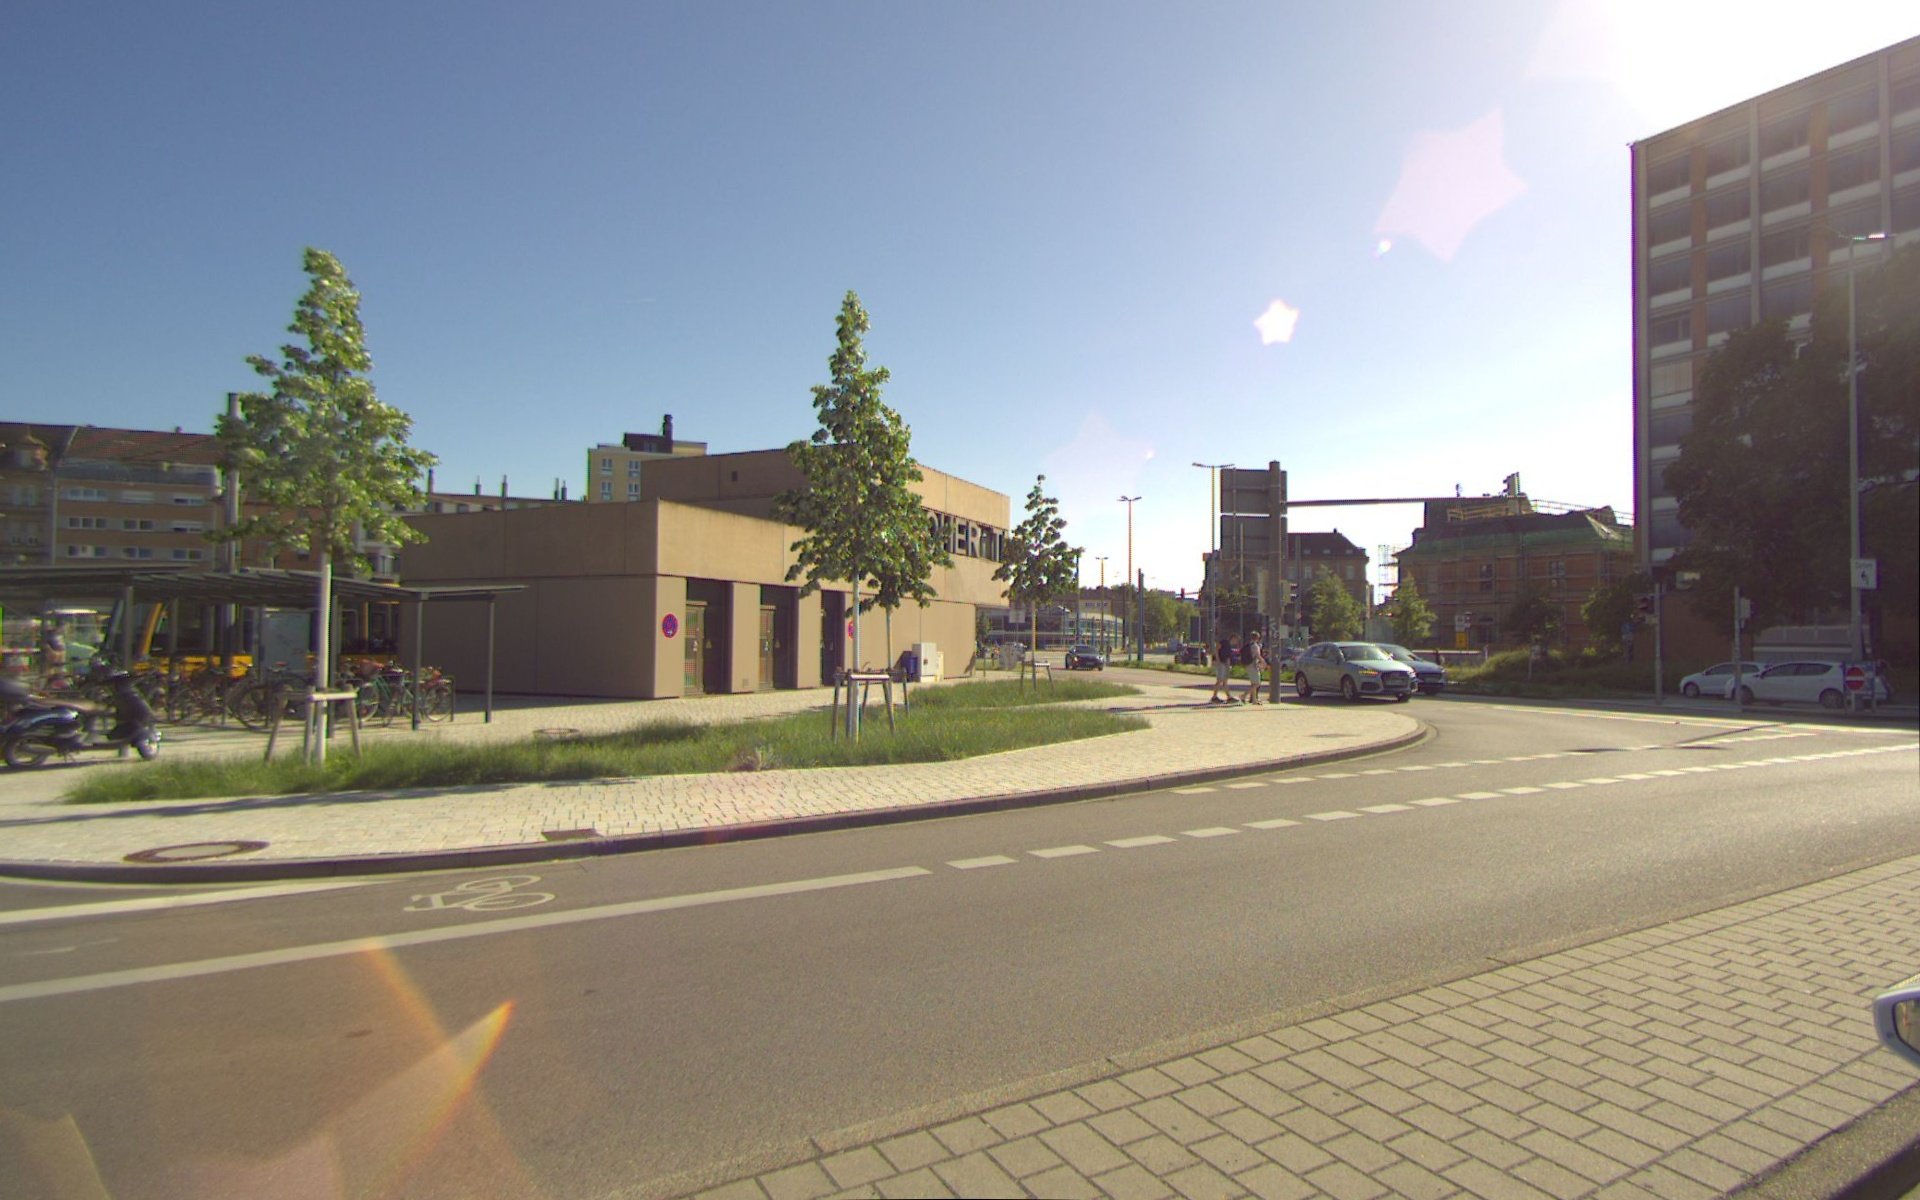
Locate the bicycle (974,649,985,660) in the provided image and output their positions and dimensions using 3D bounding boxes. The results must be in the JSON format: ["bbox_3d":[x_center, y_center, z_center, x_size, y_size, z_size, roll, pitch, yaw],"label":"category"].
[{"bbox_3d":[1.701,4.881,89.643,0.674,0.930,1.989,1,-4,-8],"label":"bicycle"}]

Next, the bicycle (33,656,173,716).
[{"bbox_3d":[-16.875,1.679,19.852,0.524,1.051,2.070,-2,-2,26],"label":"bicycle"}]

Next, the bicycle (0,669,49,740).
[{"bbox_3d":[-14.192,1.527,14.378,0.399,0.985,1.683,2,0,22],"label":"bicycle"}]

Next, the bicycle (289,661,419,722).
[{"bbox_3d":[-11.754,1.751,19.575,0.679,1.011,2.140,2,0,26],"label":"bicycle"}]

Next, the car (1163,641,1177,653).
[{"bbox_3d":[36.361,8.065,174.092,1.959,2.040,4.003,0,-2,7],"label":"car"}]

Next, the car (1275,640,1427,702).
[{"bbox_3d":[10.919,1.972,28.416,1.764,1.602,4.244,0,-3,-17],"label":"car"}]

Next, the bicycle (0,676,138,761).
[{"bbox_3d":[-12.194,1.575,13.581,0.399,0.985,1.683,2,0,22],"label":"bicycle"}]

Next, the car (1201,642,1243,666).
[{"bbox_3d":[19.629,4.036,75.506,1.809,1.653,4.386,1,-2,-4],"label":"car"}]

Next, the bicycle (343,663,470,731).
[{"bbox_3d":[-9.959,1.723,18.164,0.524,1.051,2.070,2,0,26],"label":"bicycle"}]

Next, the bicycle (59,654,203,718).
[{"bbox_3d":[-15.894,1.625,19.323,0.524,1.051,2.070,5,1,26],"label":"bicycle"}]

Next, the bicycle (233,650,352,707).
[{"bbox_3d":[-13.909,1.617,20.996,0.524,1.051,2.070,2,0,26],"label":"bicycle"}]

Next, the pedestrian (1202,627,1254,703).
[{"bbox_3d":[6.648,1.624,24.912,1.082,1.822,0.705,1,-4,-4],"label":"pedestrian"}]

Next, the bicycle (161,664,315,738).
[{"bbox_3d":[-11.999,1.654,16.776,0.524,1.051,2.070,2,0,26],"label":"bicycle"}]

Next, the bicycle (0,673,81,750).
[{"bbox_3d":[-13.222,1.545,13.816,0.399,0.985,1.683,2,0,22],"label":"bicycle"}]

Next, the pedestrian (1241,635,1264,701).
[{"bbox_3d":[7.879,1.821,27.070,0.585,1.751,0.580,0,-2,14],"label":"pedestrian"}]

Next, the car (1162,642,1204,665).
[{"bbox_3d":[16.531,3.961,74.526,1.809,1.653,4.386,1,-3,-5],"label":"car"}]

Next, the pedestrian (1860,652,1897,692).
[{"bbox_3d":[36.925,2.900,40.395,0.550,1.591,0.860,1,-4,-18],"label":"pedestrian"}]

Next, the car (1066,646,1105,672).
[{"bbox_3d":[7.518,3.564,60.502,1.783,1.524,4.786,-1,-3,0],"label":"car"}]

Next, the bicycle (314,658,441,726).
[{"bbox_3d":[-10.789,1.685,18.702,0.594,1.093,2.053,2,0,25],"label":"bicycle"}]

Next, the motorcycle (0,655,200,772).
[{"bbox_3d":[-10.840,1.449,12.479,0.558,1.232,2.091,0,-11,21],"label":"motorcycle"}]

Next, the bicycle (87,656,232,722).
[{"bbox_3d":[-15.008,1.642,18.908,0.524,1.051,2.070,5,1,26],"label":"bicycle"}]

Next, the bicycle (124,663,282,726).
[{"bbox_3d":[-13.700,1.679,18.264,0.673,0.956,2.233,2,0,25],"label":"bicycle"}]

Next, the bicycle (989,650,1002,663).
[{"bbox_3d":[2.901,4.593,81.611,0.727,1.008,1.989,1,-4,-7],"label":"bicycle"}]

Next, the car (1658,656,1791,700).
[{"bbox_3d":[29.277,2.966,38.610,1.714,1.454,3.838,3,-2,-14],"label":"car"}]

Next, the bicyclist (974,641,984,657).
[{"bbox_3d":[1.706,4.383,89.674,0.674,1.440,1.127,1,-4,-8],"label":"bicyclist"}]

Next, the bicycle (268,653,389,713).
[{"bbox_3d":[-12.734,1.649,20.331,0.524,1.051,2.070,2,0,26],"label":"bicycle"}]

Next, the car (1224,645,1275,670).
[{"bbox_3d":[19.921,3.937,69.298,1.810,1.653,4.383,1,-2,-7],"label":"car"}]

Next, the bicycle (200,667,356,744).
[{"bbox_3d":[-10.895,1.651,16.136,0.524,1.051,2.070,2,0,26],"label":"bicycle"}]

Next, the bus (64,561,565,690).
[{"bbox_3d":[-18.562,0.862,31.061,2.810,3.112,13.620,0,-2,25],"label":"bus"}]

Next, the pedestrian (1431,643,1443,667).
[{"bbox_3d":[32.976,3.767,69.431,0.636,1.637,0.548,0,-2,10],"label":"pedestrian"}]

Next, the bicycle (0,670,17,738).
[{"bbox_3d":[-14.709,1.543,14.428,0.399,0.985,1.683,2,0,22],"label":"bicycle"}]

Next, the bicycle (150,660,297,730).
[{"bbox_3d":[-12.890,1.631,17.660,0.524,1.051,2.070,2,0,26],"label":"bicycle"}]

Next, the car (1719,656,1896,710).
[{"bbox_3d":[25.867,2.497,30.813,1.717,1.454,3.831,1,-2,-21],"label":"car"}]

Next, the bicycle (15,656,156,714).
[{"bbox_3d":[-17.763,1.699,20.460,0.524,1.051,2.070,5,0,26],"label":"bicycle"}]

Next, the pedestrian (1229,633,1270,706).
[{"bbox_3d":[6.980,1.673,24.220,0.773,1.711,0.795,1,-5,1],"label":"pedestrian"}]

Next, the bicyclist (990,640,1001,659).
[{"bbox_3d":[2.895,4.061,81.668,0.727,1.519,1.071,1,-3,-8],"label":"bicyclist"}]

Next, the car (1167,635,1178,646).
[{"bbox_3d":[40.106,7.640,189.410,1.959,2.040,4.003,0,-2,11],"label":"car"}]

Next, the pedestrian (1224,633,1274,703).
[{"bbox_3d":[7.331,1.732,25.444,0.831,1.711,0.896,5,-5,-34],"label":"pedestrian"}]

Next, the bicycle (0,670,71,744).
[{"bbox_3d":[-13.687,1.533,14.177,0.399,0.985,1.683,2,0,22],"label":"bicycle"}]

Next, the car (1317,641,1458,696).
[{"bbox_3d":[14.300,2.293,33.945,1.815,1.640,4.687,3,-4,-16],"label":"car"}]
